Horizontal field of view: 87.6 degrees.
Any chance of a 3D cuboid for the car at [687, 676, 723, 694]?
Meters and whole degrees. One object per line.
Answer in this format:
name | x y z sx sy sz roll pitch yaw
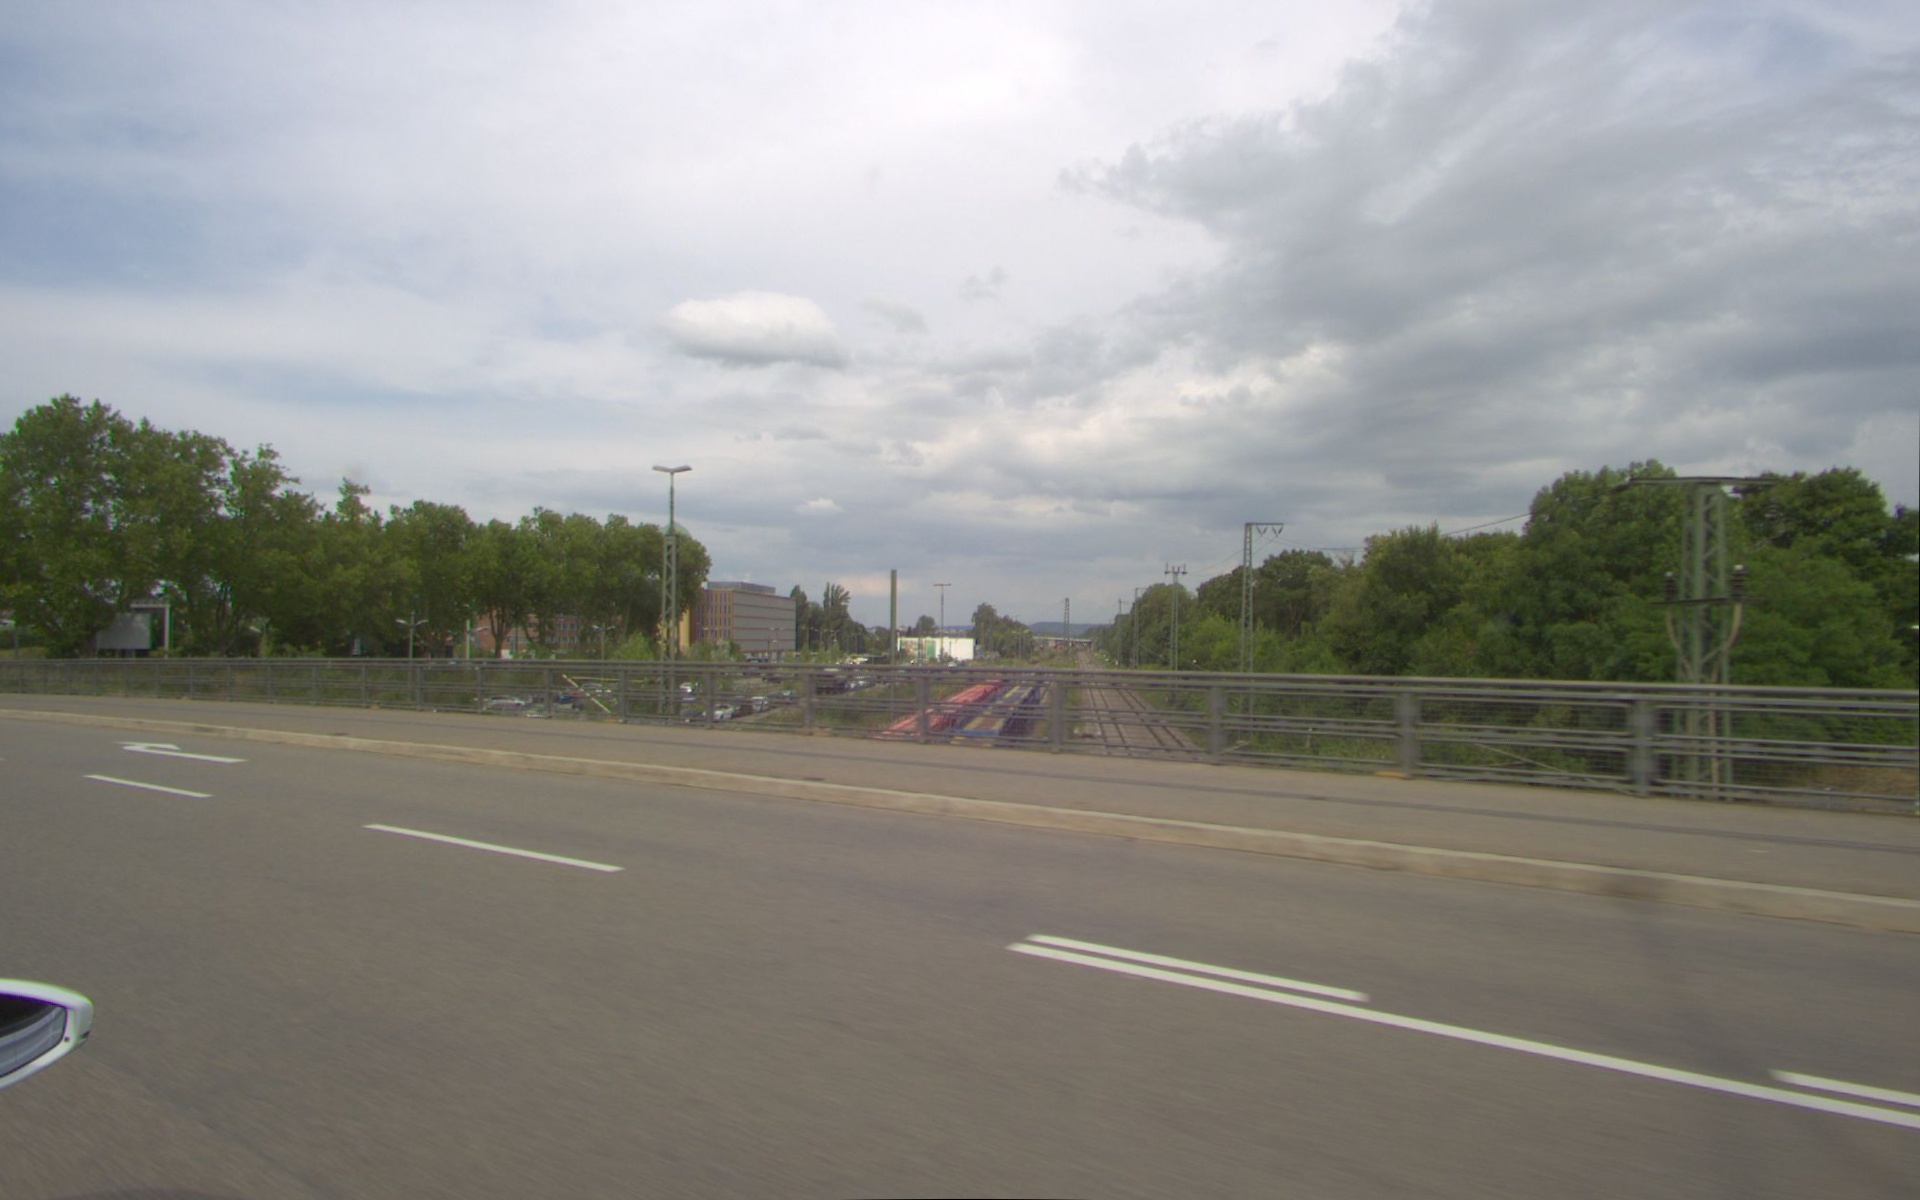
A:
car | -31.580 10.532 124.024 3.922 2.039 1.764 0 -2 2
